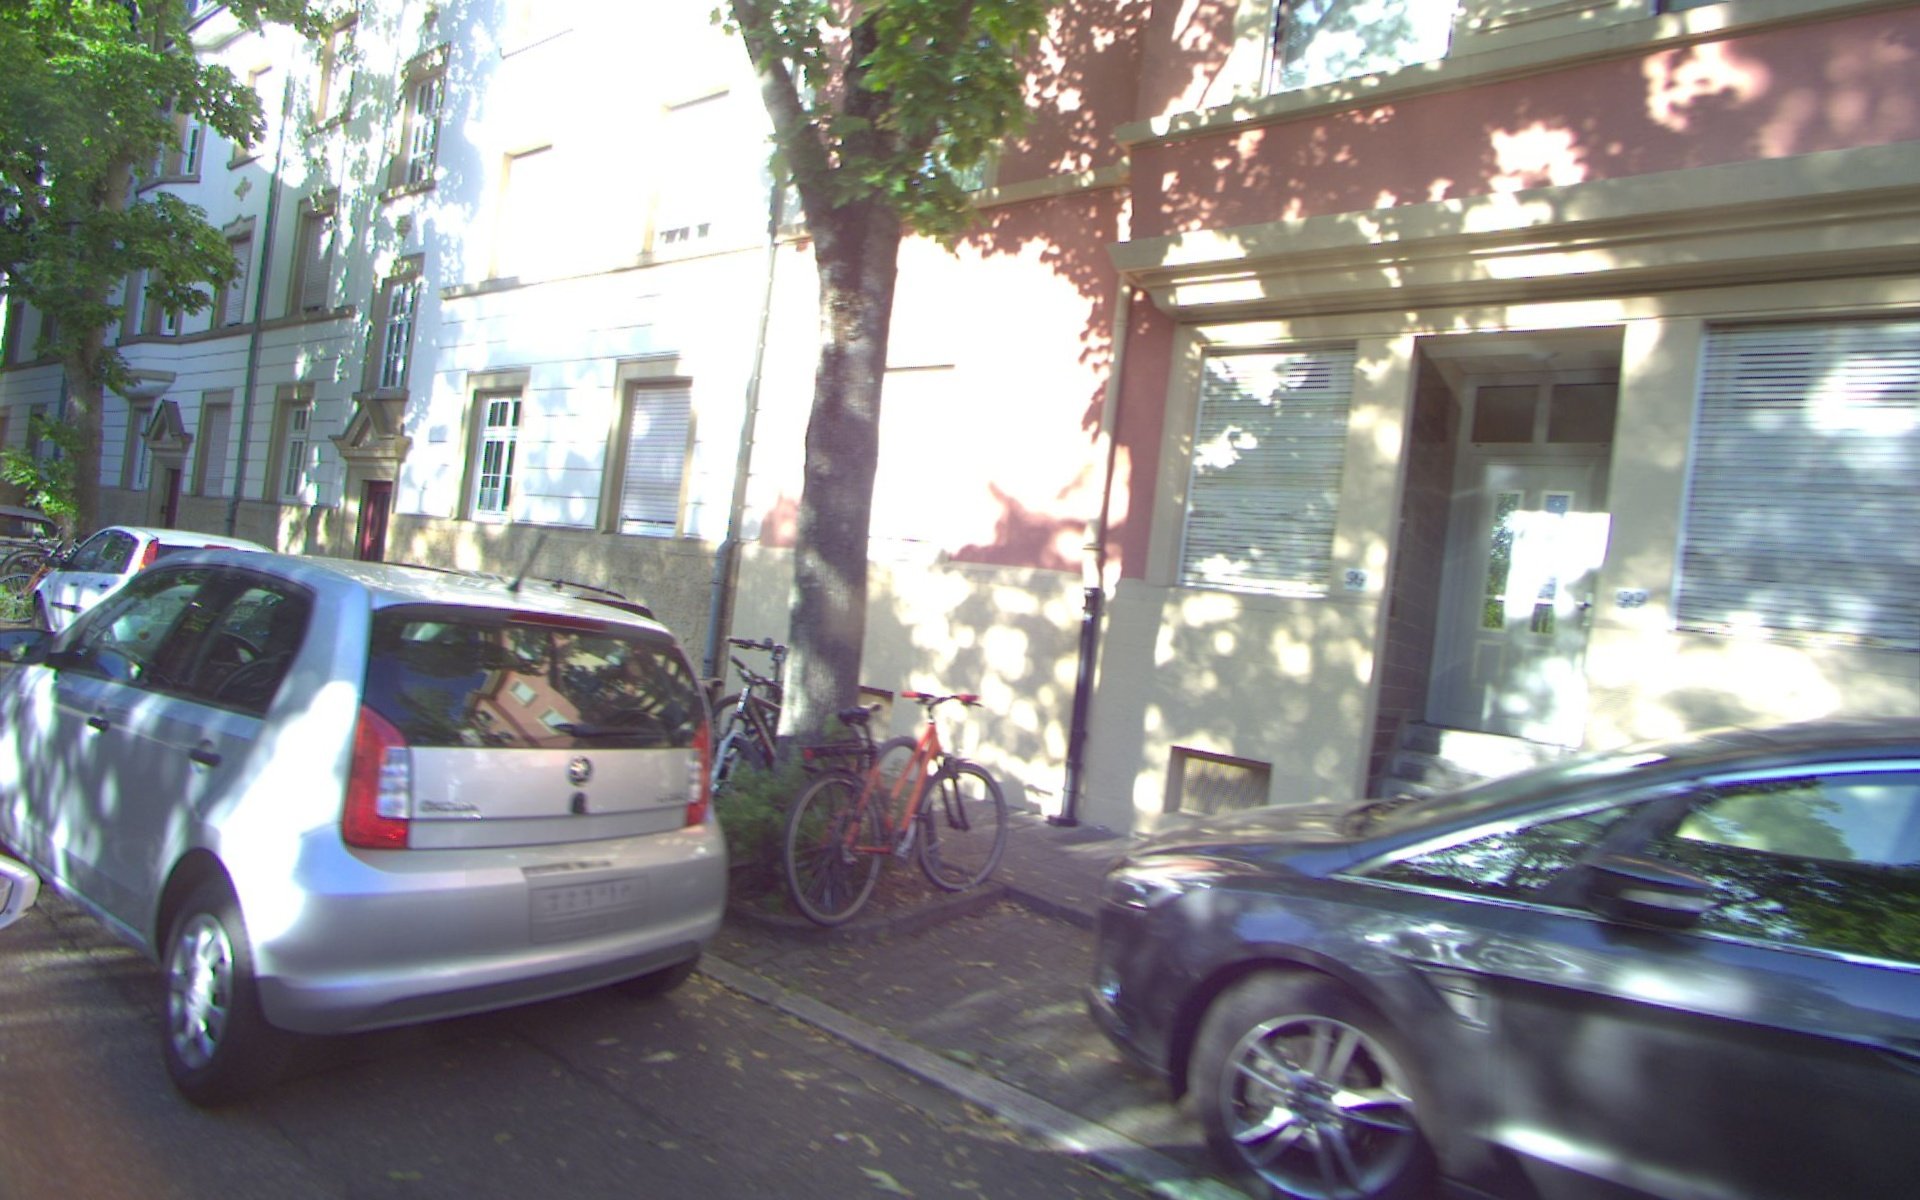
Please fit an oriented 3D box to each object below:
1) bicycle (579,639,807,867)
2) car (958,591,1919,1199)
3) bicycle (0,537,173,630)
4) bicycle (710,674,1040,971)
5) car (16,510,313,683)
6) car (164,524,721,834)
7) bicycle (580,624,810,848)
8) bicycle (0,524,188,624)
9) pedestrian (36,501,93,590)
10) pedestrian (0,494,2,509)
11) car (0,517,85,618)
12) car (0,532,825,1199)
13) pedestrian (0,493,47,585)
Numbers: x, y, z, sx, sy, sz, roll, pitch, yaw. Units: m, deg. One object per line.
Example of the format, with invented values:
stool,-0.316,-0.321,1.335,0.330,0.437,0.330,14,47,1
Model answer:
bicycle,-1.412,0.798,5.497,0.293,1.089,1.201,7,0,35
car,2.600,1.137,2.719,4.866,1.737,1.887,7,-1,35
bicycle,-11.802,-0.206,13.371,0.590,1.086,1.968,7,1,36
bicycle,-0.341,1.008,5.149,0.560,1.182,1.810,7,1,35
car,-8.949,-0.077,11.234,3.690,1.506,1.597,6,0,36
car,-4.050,0.437,7.591,4.390,1.531,1.788,6,-2,35
bicycle,-1.516,0.769,5.935,0.323,1.154,1.307,7,0,35
bicycle,-12.567,-0.346,14.604,0.748,1.245,1.968,7,1,36
pedestrian,-18.497,-1.133,20.772,0.678,1.721,0.596,7,-1,37
pedestrian,-26.144,-2.053,26.701,0.862,1.714,0.778,7,-1,39
car,-15.984,-0.657,16.432,4.093,1.411,1.622,6,-1,36
car,-2.578,0.710,4.058,3.740,1.562,1.681,6,-2,35
pedestrian,-18.980,-1.240,20.325,0.865,1.756,0.520,7,0,37
